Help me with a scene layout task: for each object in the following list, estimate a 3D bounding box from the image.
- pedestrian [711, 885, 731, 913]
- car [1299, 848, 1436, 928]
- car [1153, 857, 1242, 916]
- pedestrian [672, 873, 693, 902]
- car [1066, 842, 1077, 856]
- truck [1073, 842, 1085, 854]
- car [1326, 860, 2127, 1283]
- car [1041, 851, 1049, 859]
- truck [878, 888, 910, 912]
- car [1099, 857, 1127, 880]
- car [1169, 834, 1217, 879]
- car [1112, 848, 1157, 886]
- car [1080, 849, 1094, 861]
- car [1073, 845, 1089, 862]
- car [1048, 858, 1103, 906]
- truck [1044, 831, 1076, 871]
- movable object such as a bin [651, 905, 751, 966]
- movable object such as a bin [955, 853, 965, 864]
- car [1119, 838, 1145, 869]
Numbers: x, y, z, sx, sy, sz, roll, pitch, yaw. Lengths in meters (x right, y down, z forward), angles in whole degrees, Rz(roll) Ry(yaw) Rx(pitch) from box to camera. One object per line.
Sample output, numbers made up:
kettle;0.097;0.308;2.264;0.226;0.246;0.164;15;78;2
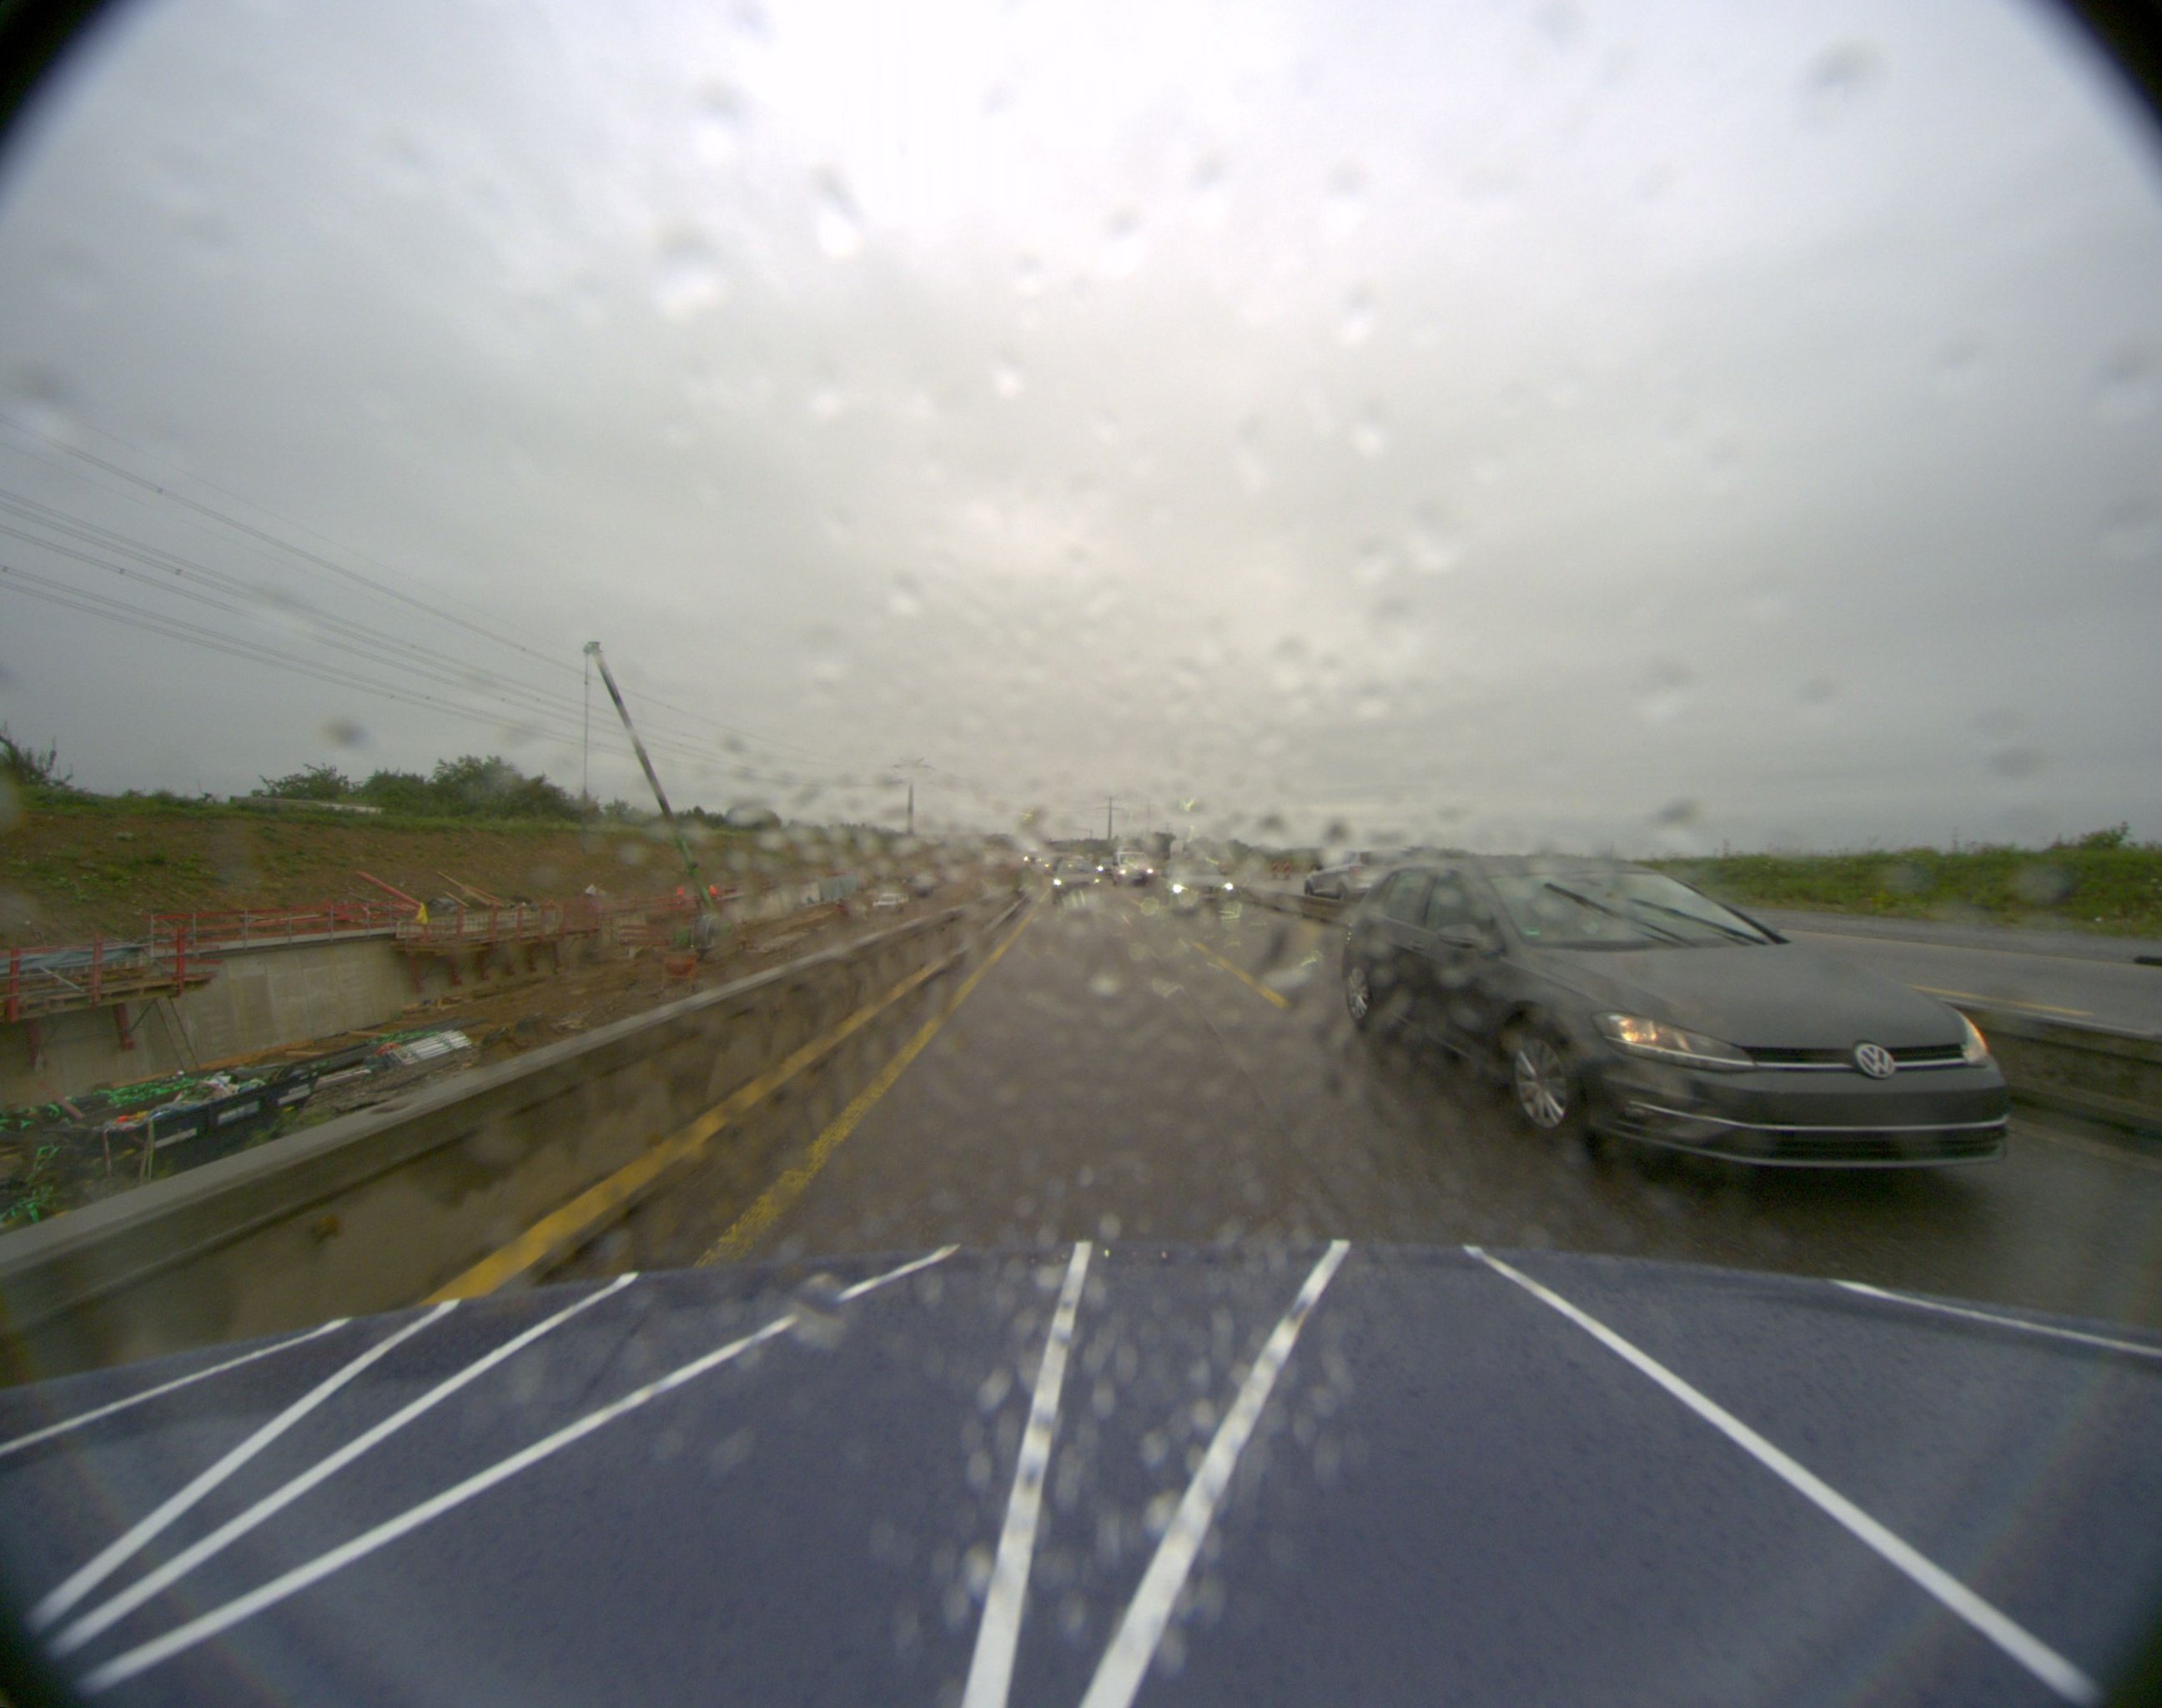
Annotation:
pedestrian;-30.837;3.872;65.103;0.917;2.219;1.006;-7;2;2
car;7.007;0.745;19.079;1.795;1.713;4.287;-3;0;1
car;3.236;0.853;21.950;1.800;1.389;4.268;-3;1;-1
pedestrian;-32.769;2.748;62.515;0.918;2.233;1.005;-7;2;-5
car;-2.165;-1.094;168.523;1.999;3.028;7.169;-3;0;-3
truck;-0.436;-1.389;182.049;2.365;2.877;6.545;0;1;-4
car;3.035;0.822;4.831;1.653;1.414;4.080;-2;1;1
car;-9.539;0.257;201.167;1.800;1.850;4.284;-3;1;-4
truck;-17.898;4.415;73.095;1.767;1.860;5.784;0;1;-1
car;2.395;1.075;57.879;1.800;1.521;4.066;-3;1;-2
car;6.811;0.156;46.867;2.029;2.533;5.958;-1;0;0
car;2.895;0.675;42.155;2.160;1.848;5.179;-3;1;2
car;0.916;0.149;122.414;1.999;1.774;4.836;-3;0;-1
car;0.013;-0.087;91.707;1.799;1.850;4.286;-3;1;0
car;-0.111;0.977;28.357;1.799;1.524;4.308;-3;0;2
truck;-2.141;-0.329;75.197;2.837;3.617;9.117;-3;1;-2
movable object such as a bin;-23.590;4.989;47.531;3.803;2.790;4.849;-2;6;-2
movable object such as a bin;-31.540;1.226;197.950;2.252;2.703;3.998;-3;1;-5
car;5.148;-0.017;77.594;1.999;2.995;5.779;-3;0;-1
